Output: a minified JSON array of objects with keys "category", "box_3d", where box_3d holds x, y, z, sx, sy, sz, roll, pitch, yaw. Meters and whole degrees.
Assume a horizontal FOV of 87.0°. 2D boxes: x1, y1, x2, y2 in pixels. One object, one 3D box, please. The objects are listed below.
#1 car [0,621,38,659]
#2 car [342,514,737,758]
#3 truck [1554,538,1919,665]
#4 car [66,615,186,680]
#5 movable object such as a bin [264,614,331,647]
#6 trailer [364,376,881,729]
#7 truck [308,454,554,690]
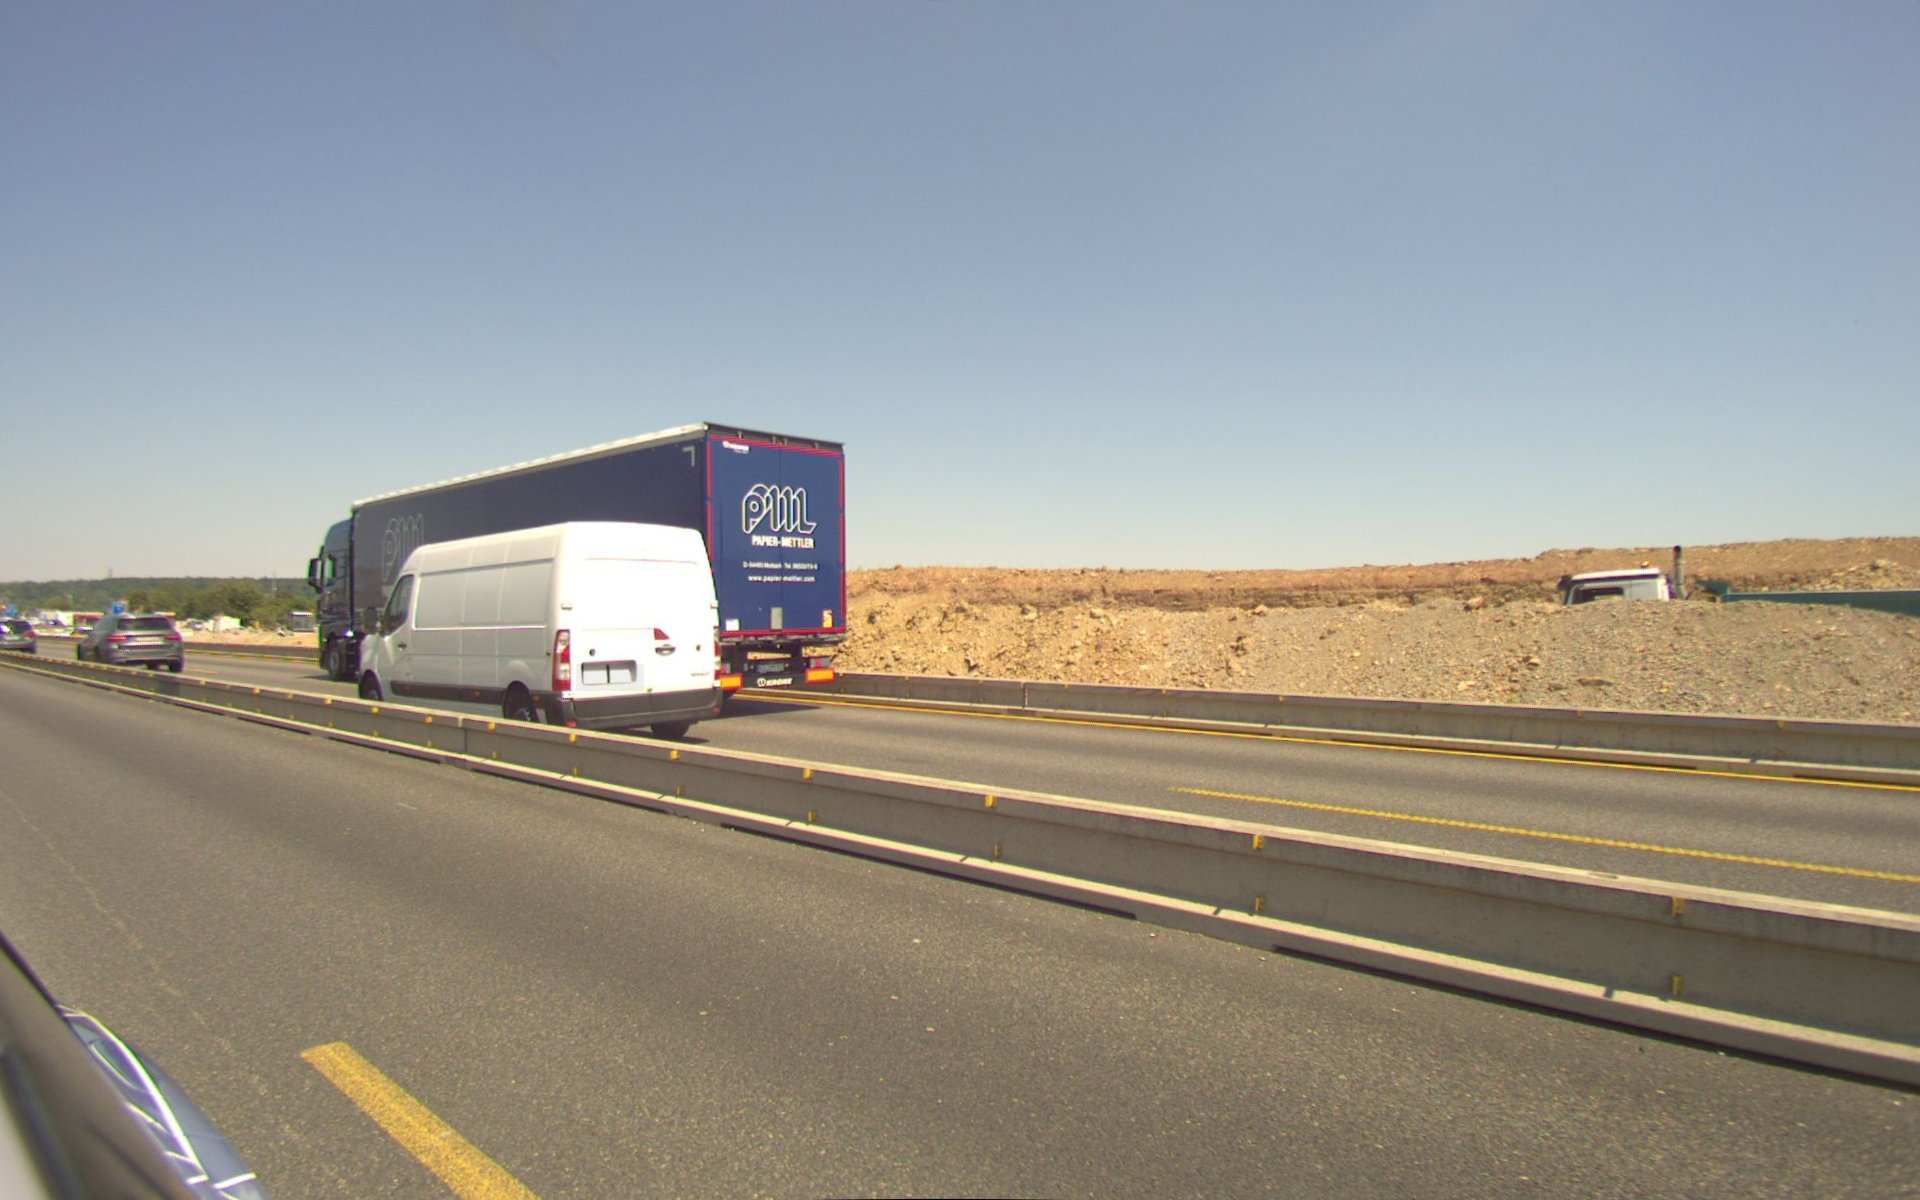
[{"category":"car","box_3d":[-42.910,1.802,45.468,4.223,1.577,1.748,-2,-1,41]},{"category":"car","box_3d":[-5.488,0.421,12.589,6.193,2.361,2.014,-2,-1,41]},{"category":"truck","box_3d":[15.885,0.017,18.082,8.796,2.074,2.536,-1,0,40]},{"category":"car","box_3d":[-23.549,1.278,28.511,4.883,1.641,1.849,-1,0,41]},{"category":"movable object such as a bin","box_3d":[-45.859,2.057,69.985,6.141,2.150,2.291,-1,0,41]},{"category":"trailer","box_3d":[-7.030,-0.573,18.665,12.878,4.631,2.954,-1,0,42]},{"category":"truck","box_3d":[-12.273,-0.538,23.260,6.241,4.687,2.934,-1,0,41]}]
